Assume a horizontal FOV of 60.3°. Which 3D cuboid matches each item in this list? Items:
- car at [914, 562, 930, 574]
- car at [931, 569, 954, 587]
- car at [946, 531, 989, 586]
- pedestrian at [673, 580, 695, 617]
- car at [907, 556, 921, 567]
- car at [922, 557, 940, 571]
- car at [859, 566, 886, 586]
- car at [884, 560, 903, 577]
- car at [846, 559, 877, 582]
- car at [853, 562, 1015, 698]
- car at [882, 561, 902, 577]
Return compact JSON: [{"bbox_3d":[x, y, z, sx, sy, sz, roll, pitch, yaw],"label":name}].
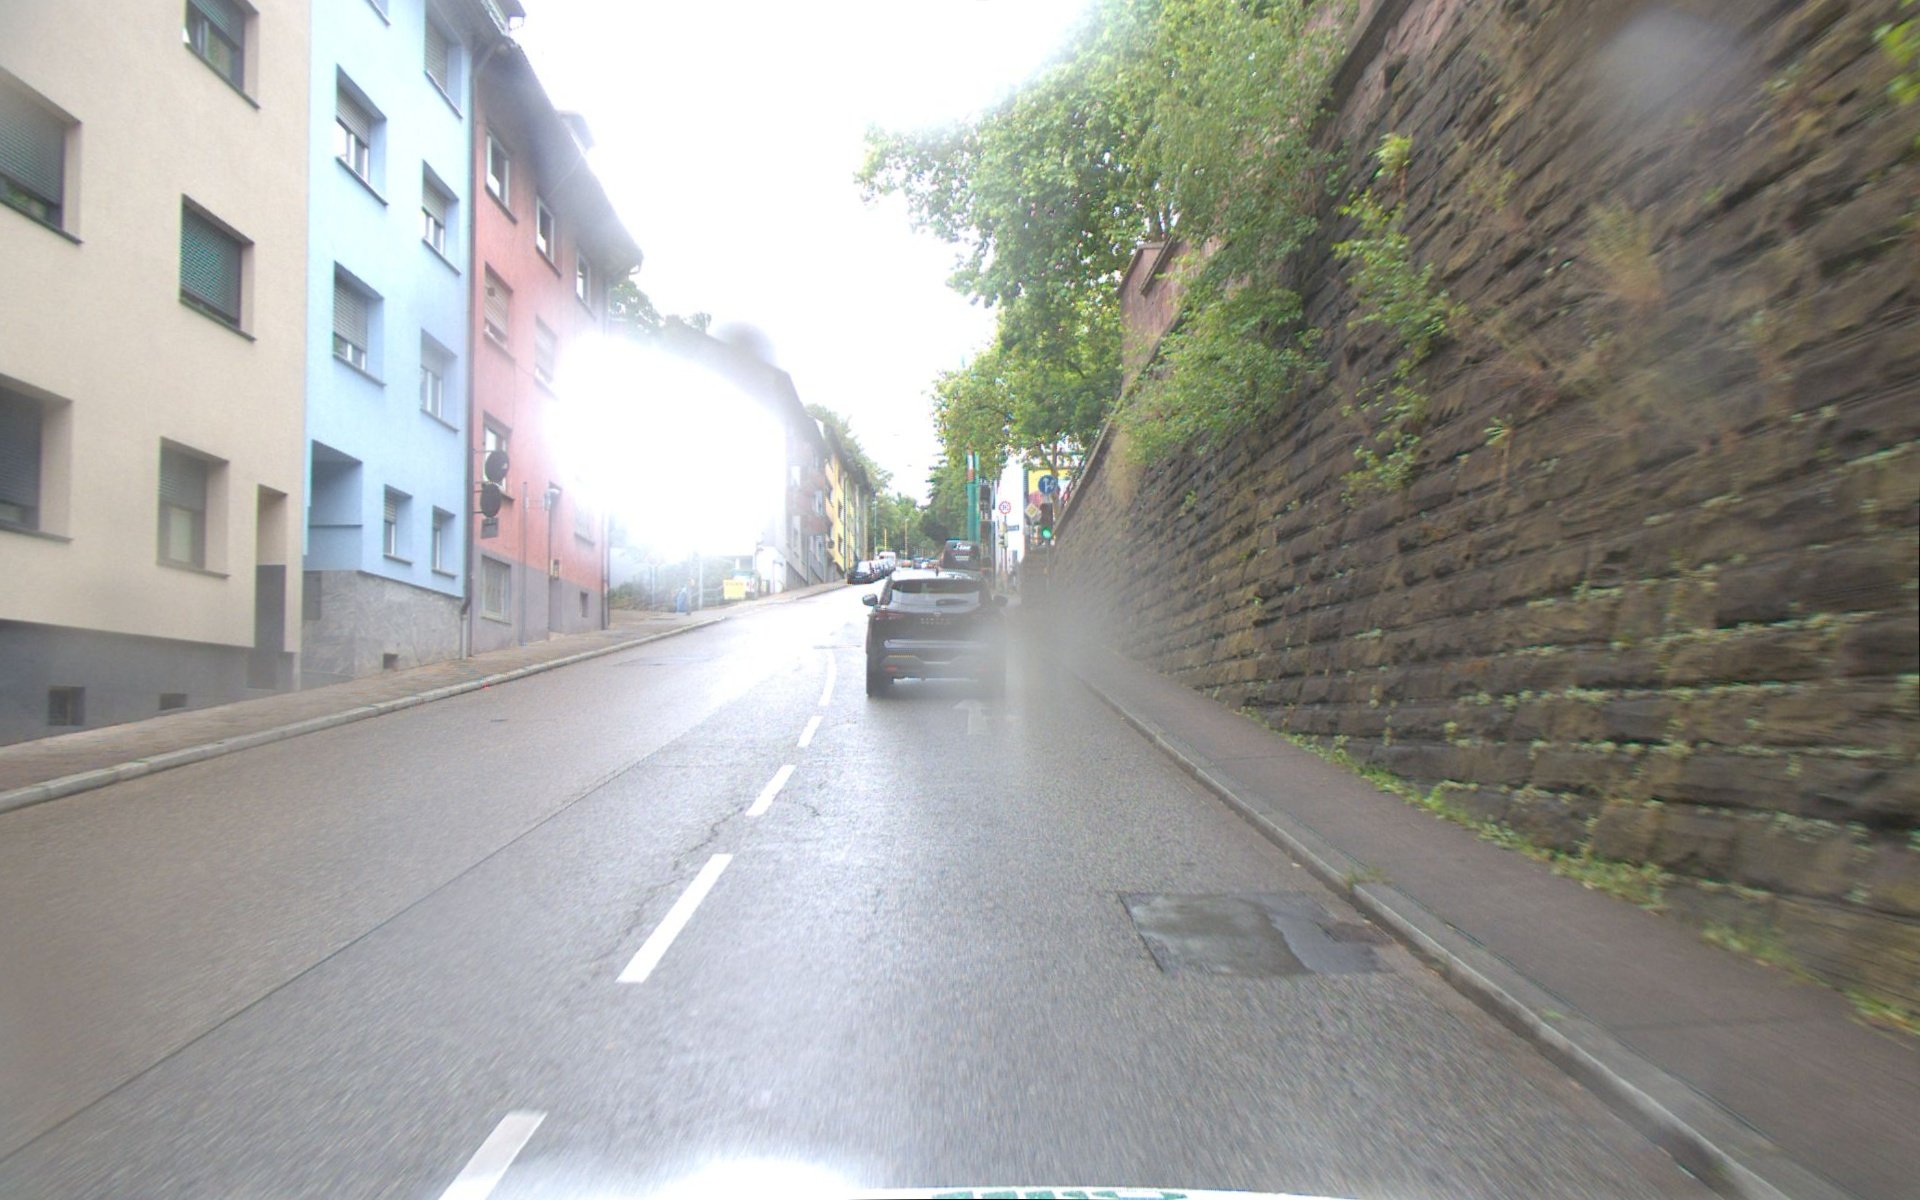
[{"bbox_3d":[-5.034,-4.217,218.436,2.033,1.586,3.999,0,1,-2],"label":"car"},{"bbox_3d":[-1.660,-2.019,153.356,2.033,1.586,3.999,0,1,-2],"label":"car"},{"bbox_3d":[0.393,-1.962,80.521,1.952,2.456,5.837,1,-1,1],"label":"car"},{"bbox_3d":[-12.185,-0.059,73.009,0.852,1.568,1.086,1,-1,-4],"label":"pedestrian"},{"bbox_3d":[-6.851,-5.773,247.234,2.033,1.586,3.999,0,1,-2],"label":"car"},{"bbox_3d":[-3.370,-4.179,190.303,2.033,1.586,3.999,0,1,-2],"label":"car"},{"bbox_3d":[-7.604,-2.093,144.209,1.952,1.678,4.443,-1,2,1],"label":"car"},{"bbox_3d":[-6.981,-3.346,175.031,1.950,1.786,4.479,-1,2,-2],"label":"car"},{"bbox_3d":[-7.593,-2.293,127.803,1.952,1.678,4.443,-1,2,1],"label":"car"},{"bbox_3d":[-0.346,0.326,22.270,1.953,1.586,4.000,1,2,-1],"label":"car"},{"bbox_3d":[-6.914,-3.149,167.822,1.950,1.612,4.304,-1,2,-2],"label":"car"}]
